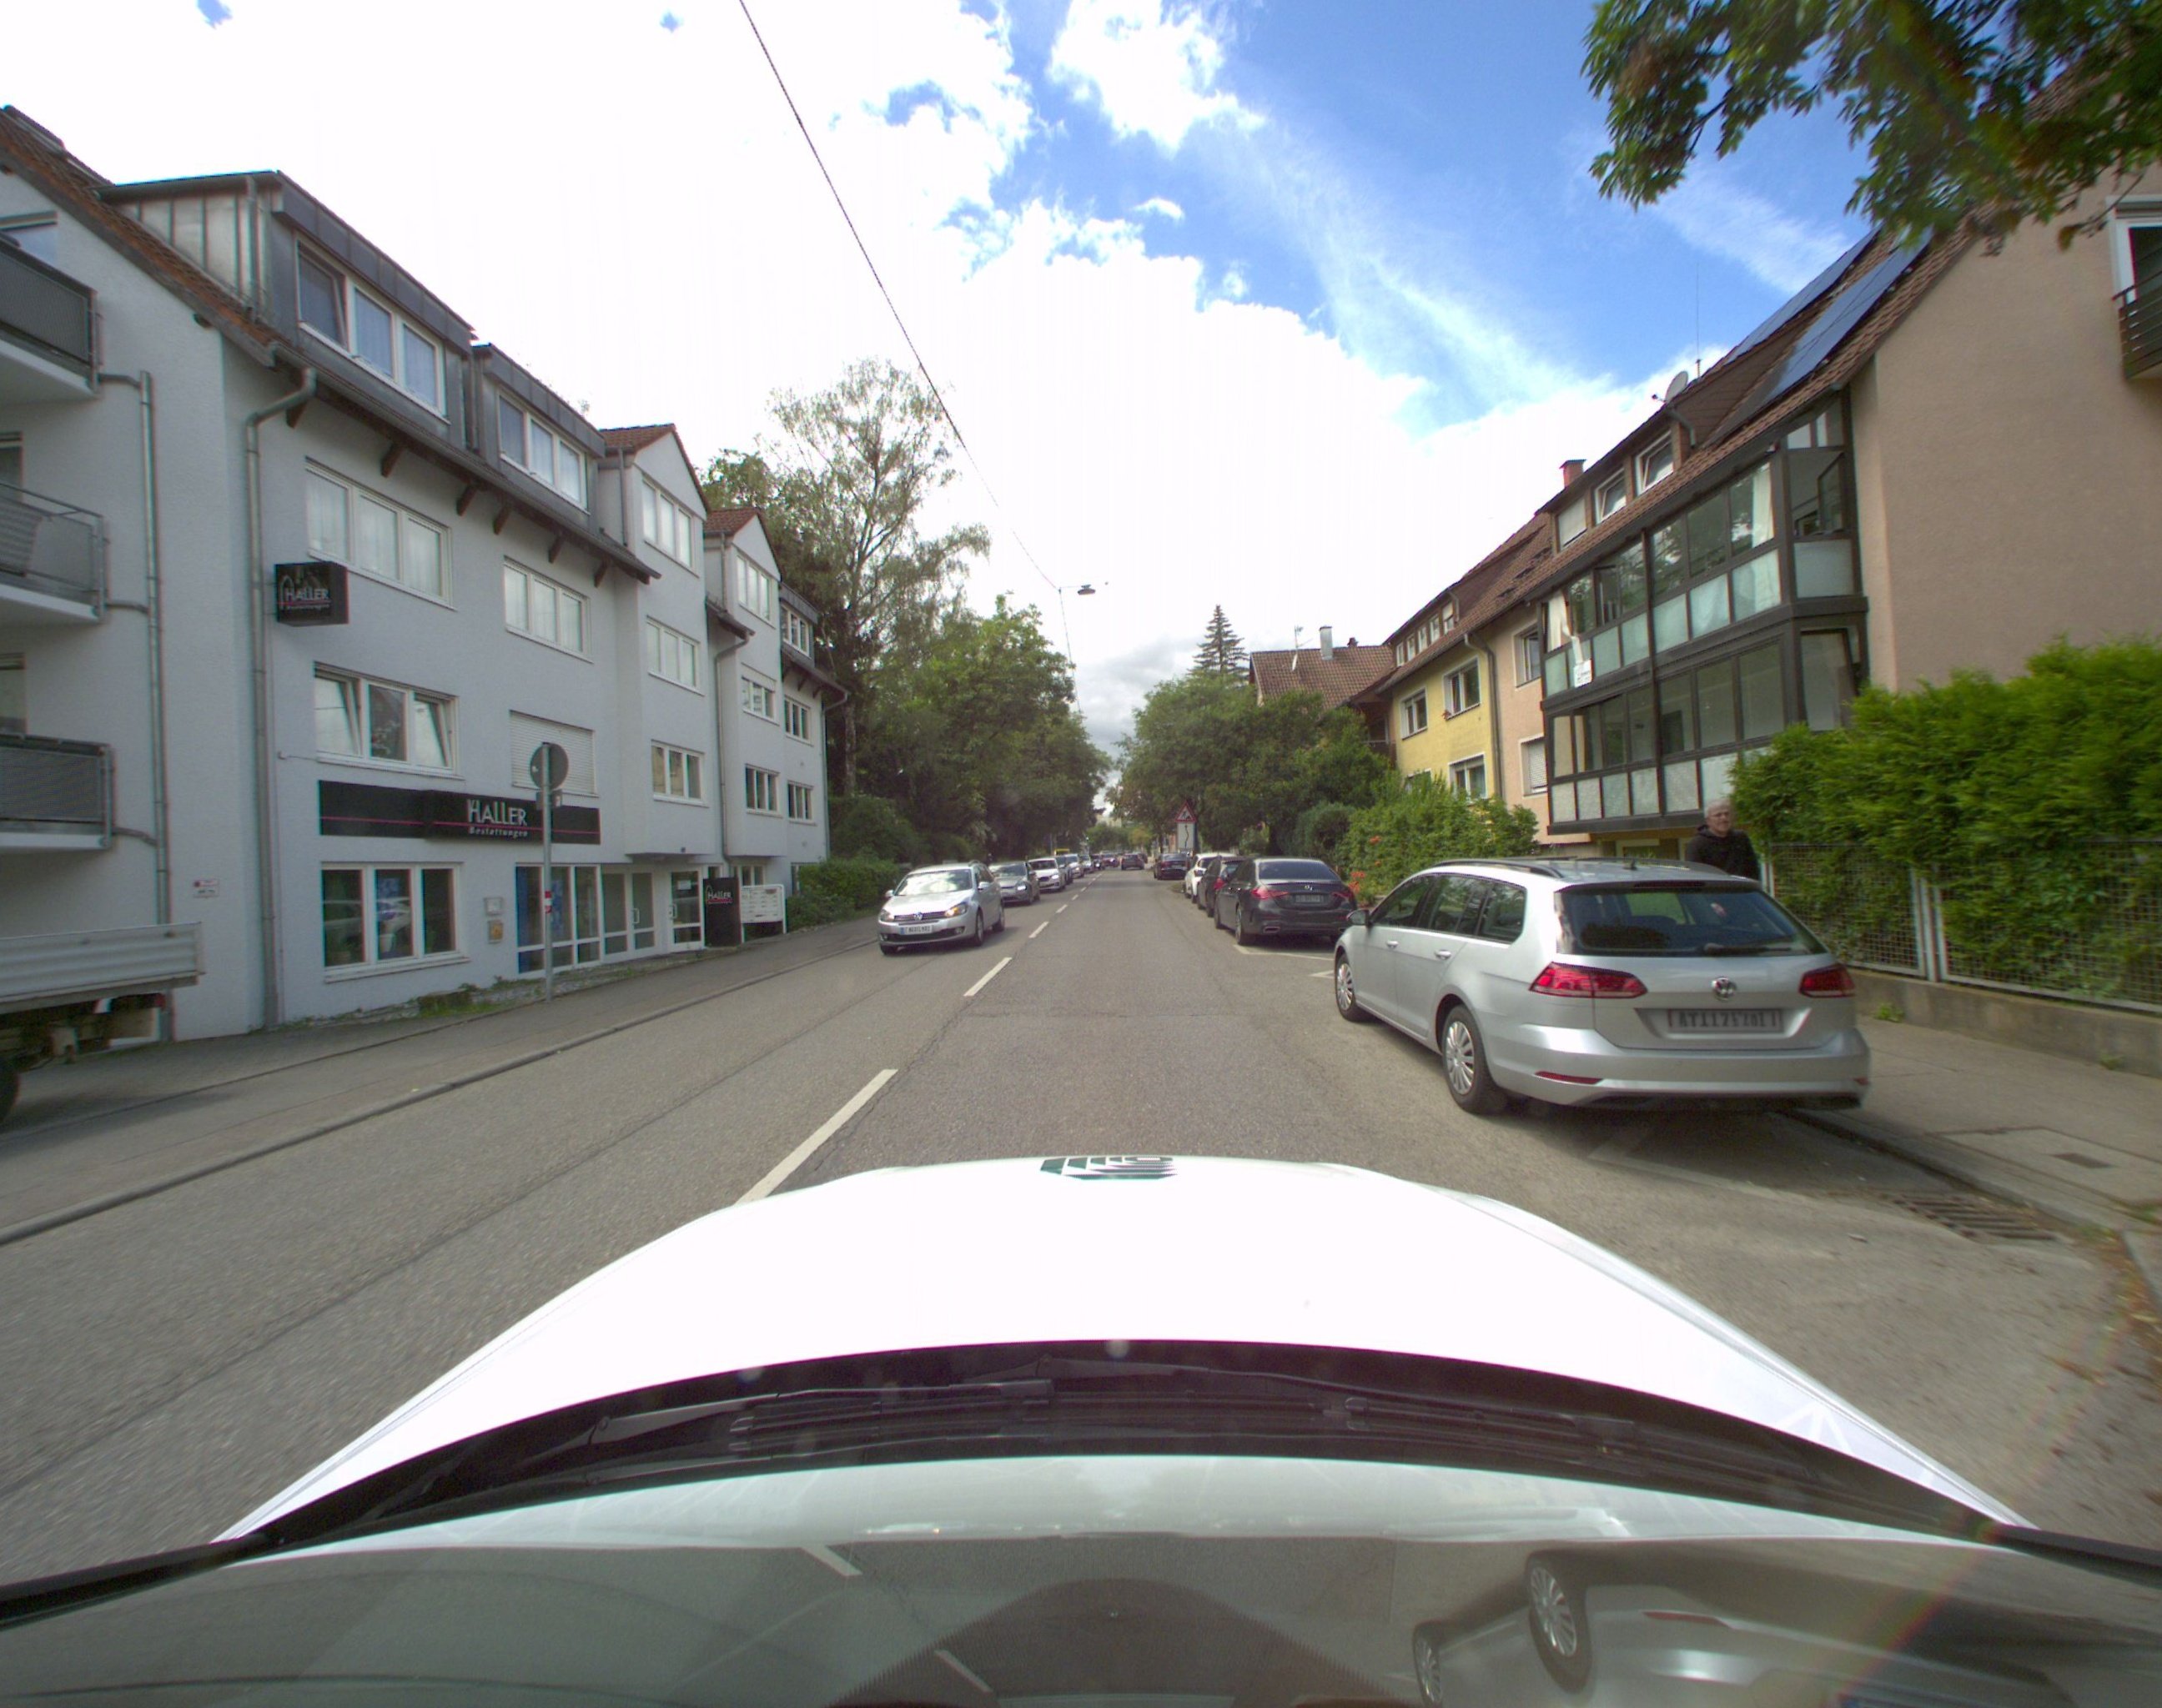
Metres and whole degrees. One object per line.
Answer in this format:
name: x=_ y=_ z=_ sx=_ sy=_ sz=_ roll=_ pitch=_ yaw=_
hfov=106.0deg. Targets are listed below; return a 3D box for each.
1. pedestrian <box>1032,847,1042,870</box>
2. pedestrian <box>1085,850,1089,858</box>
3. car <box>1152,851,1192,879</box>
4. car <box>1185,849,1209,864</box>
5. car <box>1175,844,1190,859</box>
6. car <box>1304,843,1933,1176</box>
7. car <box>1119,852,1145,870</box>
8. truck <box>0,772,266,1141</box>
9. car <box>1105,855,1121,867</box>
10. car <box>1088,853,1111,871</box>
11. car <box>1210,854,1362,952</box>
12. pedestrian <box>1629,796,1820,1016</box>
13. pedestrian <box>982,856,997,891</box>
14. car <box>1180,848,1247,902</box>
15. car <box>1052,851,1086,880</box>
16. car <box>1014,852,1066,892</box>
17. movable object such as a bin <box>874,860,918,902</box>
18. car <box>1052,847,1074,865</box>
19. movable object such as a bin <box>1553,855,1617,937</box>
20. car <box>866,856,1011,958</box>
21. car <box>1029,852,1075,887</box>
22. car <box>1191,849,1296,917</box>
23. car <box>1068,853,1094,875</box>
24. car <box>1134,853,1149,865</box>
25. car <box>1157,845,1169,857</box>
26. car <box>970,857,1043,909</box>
pedestrian: x=-3.494 y=0.345 z=64.880 sx=0.712 sy=1.762 sz=1.121 roll=-2 pitch=-1 yaw=-3
pedestrian: x=1.124 y=0.067 z=152.218 sx=0.701 sy=1.439 sz=0.715 roll=-2 pitch=-1 yaw=7
car: x=4.962 y=0.577 z=44.737 sx=1.794 sy=1.445 sz=4.889 roll=-1 pitch=0 yaw=2
car: x=10.787 y=0.190 z=75.939 sx=1.718 sy=1.316 sz=4.267 roll=-2 pitch=0 yaw=1
car: x=13.134 y=-0.326 z=105.299 sx=1.775 sy=1.634 sz=3.699 roll=-6 pitch=0 yaw=6
car: x=3.087 y=0.700 z=6.116 sx=1.694 sy=1.480 sz=4.876 roll=-1 pitch=0 yaw=3
car: x=4.599 y=0.597 z=72.823 sx=1.965 sy=1.513 sz=4.276 roll=1 pitch=0 yaw=7
truck: x=-8.236 y=0.685 z=3.729 sx=2.213 sy=2.380 sz=6.335 roll=-2 pitch=-1 yaw=5
car: x=3.868 y=0.835 z=97.781 sx=1.683 sy=1.425 sz=3.442 roll=-2 pitch=-1 yaw=5
car: x=1.753 y=0.705 z=76.950 sx=1.781 sy=1.542 sz=4.269 roll=-4 pitch=0 yaw=5
car: x=3.430 y=0.720 z=14.559 sx=1.727 sy=1.428 sz=4.886 roll=0 pitch=0 yaw=3
pedestrian: x=5.370 y=0.416 z=6.868 sx=0.876 sy=1.712 sz=0.843 roll=-2 pitch=-1 yaw=4
pedestrian: x=-4.569 y=0.970 z=40.757 sx=0.651 sy=1.667 sz=0.931 roll=-2 pitch=-1 yaw=-3
car: x=4.138 y=0.606 z=25.856 sx=1.615 sy=1.507 sz=3.782 roll=-3 pitch=0 yaw=3
car: x=-0.739 y=0.732 z=53.823 sx=1.779 sy=1.648 sz=4.494 roll=-5 pitch=0 yaw=3
car: x=-1.702 y=0.724 z=34.831 sx=1.753 sy=1.439 sz=3.973 roll=-4 pitch=0 yaw=3
movable object such as a bin: x=-6.756 y=0.976 z=29.861 sx=1.327 sy=1.427 sz=1.212 roll=-2 pitch=-1 yaw=-4
car: x=-2.159 y=0.259 z=99.842 sx=2.135 sy=1.981 sz=4.938 roll=-2 pitch=-1 yaw=5
movable object such as a bin: x=6.929 y=0.561 z=11.219 sx=0.520 sy=1.080 sz=0.605 roll=-2 pitch=-1 yaw=8
car: x=-2.526 y=0.868 z=15.509 sx=1.722 sy=1.502 sz=4.378 roll=-5 pitch=0 yaw=2
car: x=-1.481 y=0.774 z=43.235 sx=1.920 sy=1.546 sz=4.089 roll=-6 pitch=0 yaw=3
car: x=3.926 y=0.645 z=20.456 sx=1.985 sy=1.423 sz=4.593 roll=-3 pitch=0 yaw=4
car: x=0.060 y=0.803 z=66.312 sx=1.777 sy=1.591 sz=4.157 roll=-4 pitch=0 yaw=3
car: x=7.922 y=0.585 z=106.968 sx=1.808 sy=1.501 sz=4.271 roll=-1 pitch=0 yaw=4
car: x=14.558 y=-0.571 z=144.398 sx=1.984 sy=2.014 sz=4.005 roll=-2 pitch=-1 yaw=4
car: x=-2.397 y=0.913 z=27.237 sx=1.702 sy=1.455 sz=4.290 roll=-6 pitch=-1 yaw=3
